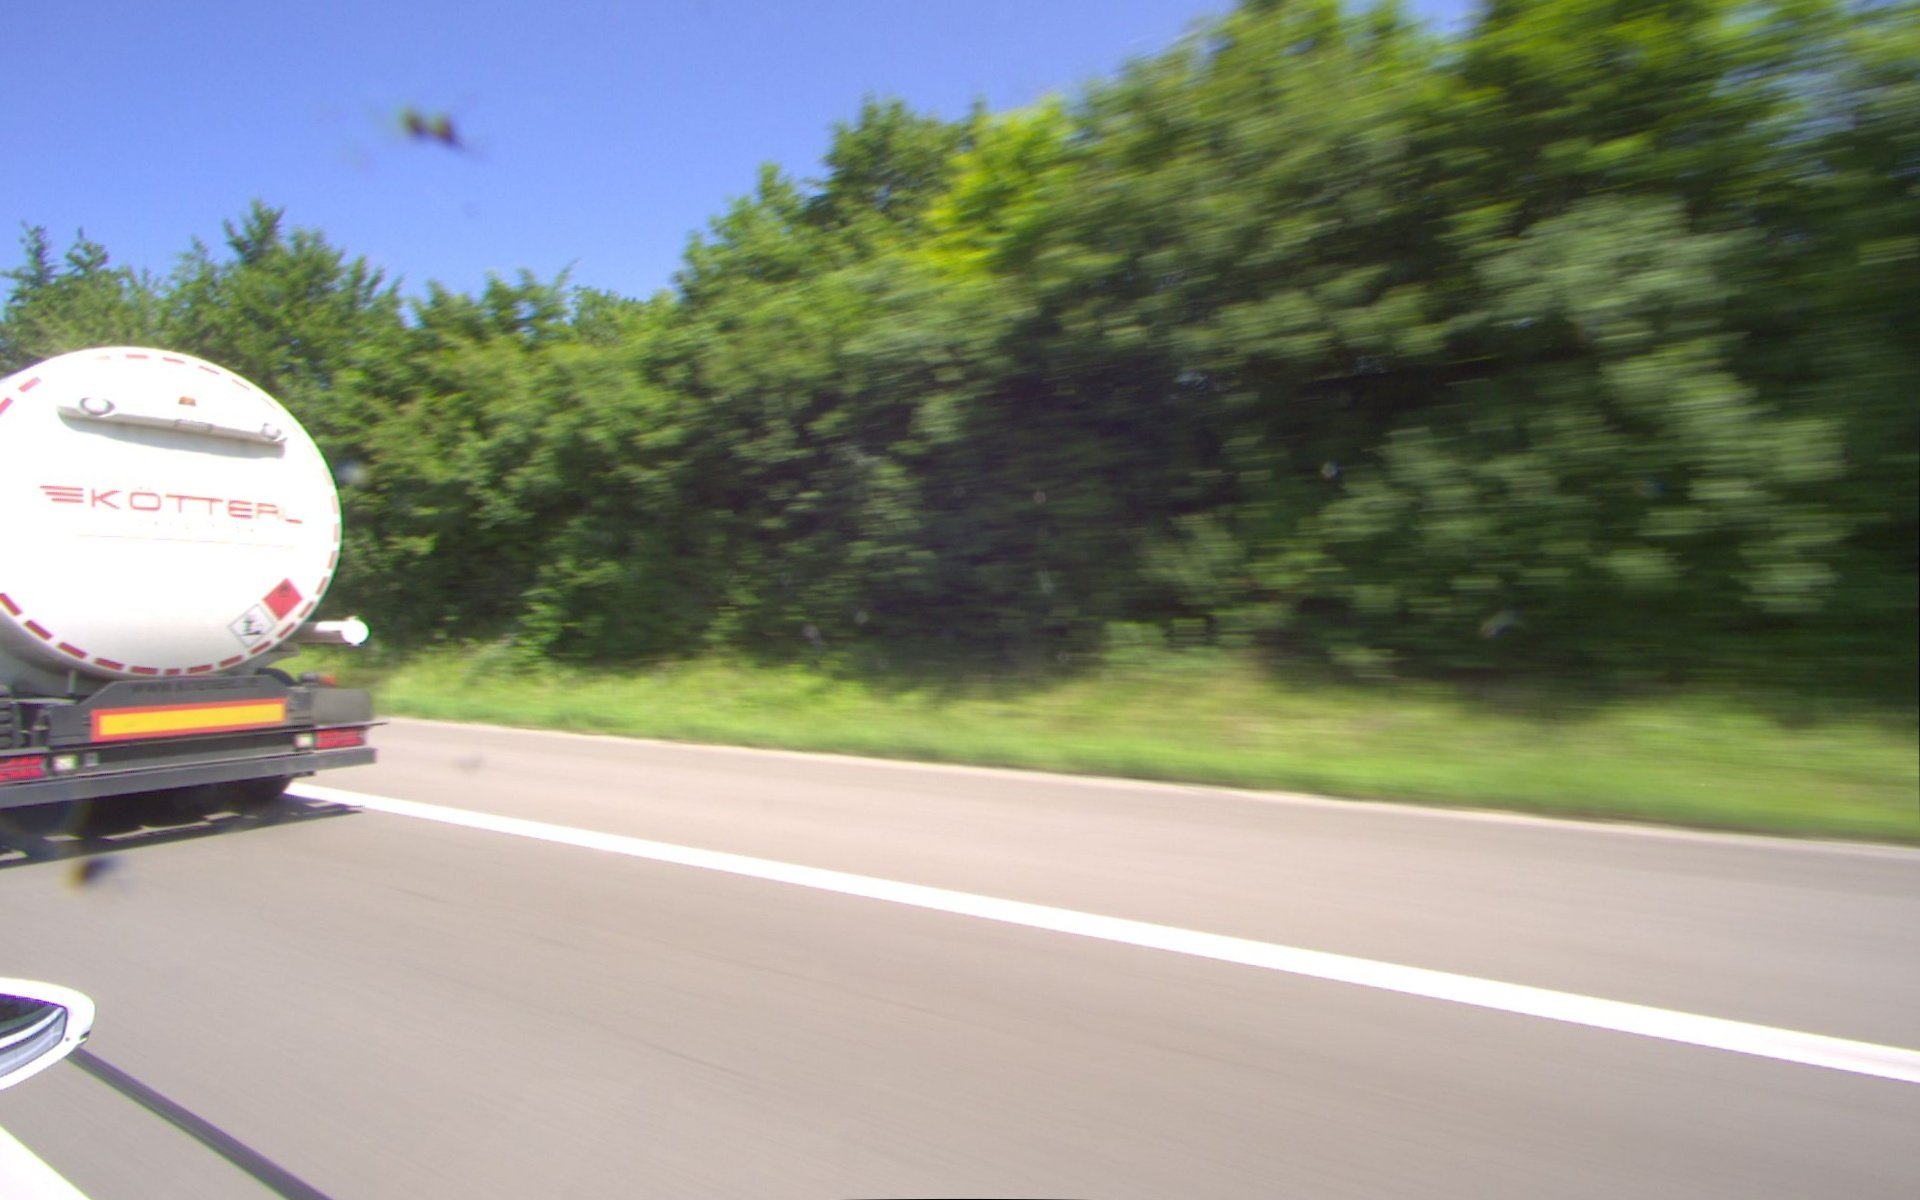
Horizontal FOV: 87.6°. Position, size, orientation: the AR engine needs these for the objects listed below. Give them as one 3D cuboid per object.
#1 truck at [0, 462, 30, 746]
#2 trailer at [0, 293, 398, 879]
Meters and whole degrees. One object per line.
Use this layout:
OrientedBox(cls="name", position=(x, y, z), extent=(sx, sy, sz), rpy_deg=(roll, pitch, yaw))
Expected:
OrientedBox(cls="truck", position=(-14.803, 0.083, 12.965), extent=(6.397, 3.418, 2.632), rpy_deg=(-1, -1, 33))
OrientedBox(cls="trailer", position=(-9.723, 0.021, 9.692), extent=(10.993, 3.434, 2.643), rpy_deg=(-1, -1, 33))
